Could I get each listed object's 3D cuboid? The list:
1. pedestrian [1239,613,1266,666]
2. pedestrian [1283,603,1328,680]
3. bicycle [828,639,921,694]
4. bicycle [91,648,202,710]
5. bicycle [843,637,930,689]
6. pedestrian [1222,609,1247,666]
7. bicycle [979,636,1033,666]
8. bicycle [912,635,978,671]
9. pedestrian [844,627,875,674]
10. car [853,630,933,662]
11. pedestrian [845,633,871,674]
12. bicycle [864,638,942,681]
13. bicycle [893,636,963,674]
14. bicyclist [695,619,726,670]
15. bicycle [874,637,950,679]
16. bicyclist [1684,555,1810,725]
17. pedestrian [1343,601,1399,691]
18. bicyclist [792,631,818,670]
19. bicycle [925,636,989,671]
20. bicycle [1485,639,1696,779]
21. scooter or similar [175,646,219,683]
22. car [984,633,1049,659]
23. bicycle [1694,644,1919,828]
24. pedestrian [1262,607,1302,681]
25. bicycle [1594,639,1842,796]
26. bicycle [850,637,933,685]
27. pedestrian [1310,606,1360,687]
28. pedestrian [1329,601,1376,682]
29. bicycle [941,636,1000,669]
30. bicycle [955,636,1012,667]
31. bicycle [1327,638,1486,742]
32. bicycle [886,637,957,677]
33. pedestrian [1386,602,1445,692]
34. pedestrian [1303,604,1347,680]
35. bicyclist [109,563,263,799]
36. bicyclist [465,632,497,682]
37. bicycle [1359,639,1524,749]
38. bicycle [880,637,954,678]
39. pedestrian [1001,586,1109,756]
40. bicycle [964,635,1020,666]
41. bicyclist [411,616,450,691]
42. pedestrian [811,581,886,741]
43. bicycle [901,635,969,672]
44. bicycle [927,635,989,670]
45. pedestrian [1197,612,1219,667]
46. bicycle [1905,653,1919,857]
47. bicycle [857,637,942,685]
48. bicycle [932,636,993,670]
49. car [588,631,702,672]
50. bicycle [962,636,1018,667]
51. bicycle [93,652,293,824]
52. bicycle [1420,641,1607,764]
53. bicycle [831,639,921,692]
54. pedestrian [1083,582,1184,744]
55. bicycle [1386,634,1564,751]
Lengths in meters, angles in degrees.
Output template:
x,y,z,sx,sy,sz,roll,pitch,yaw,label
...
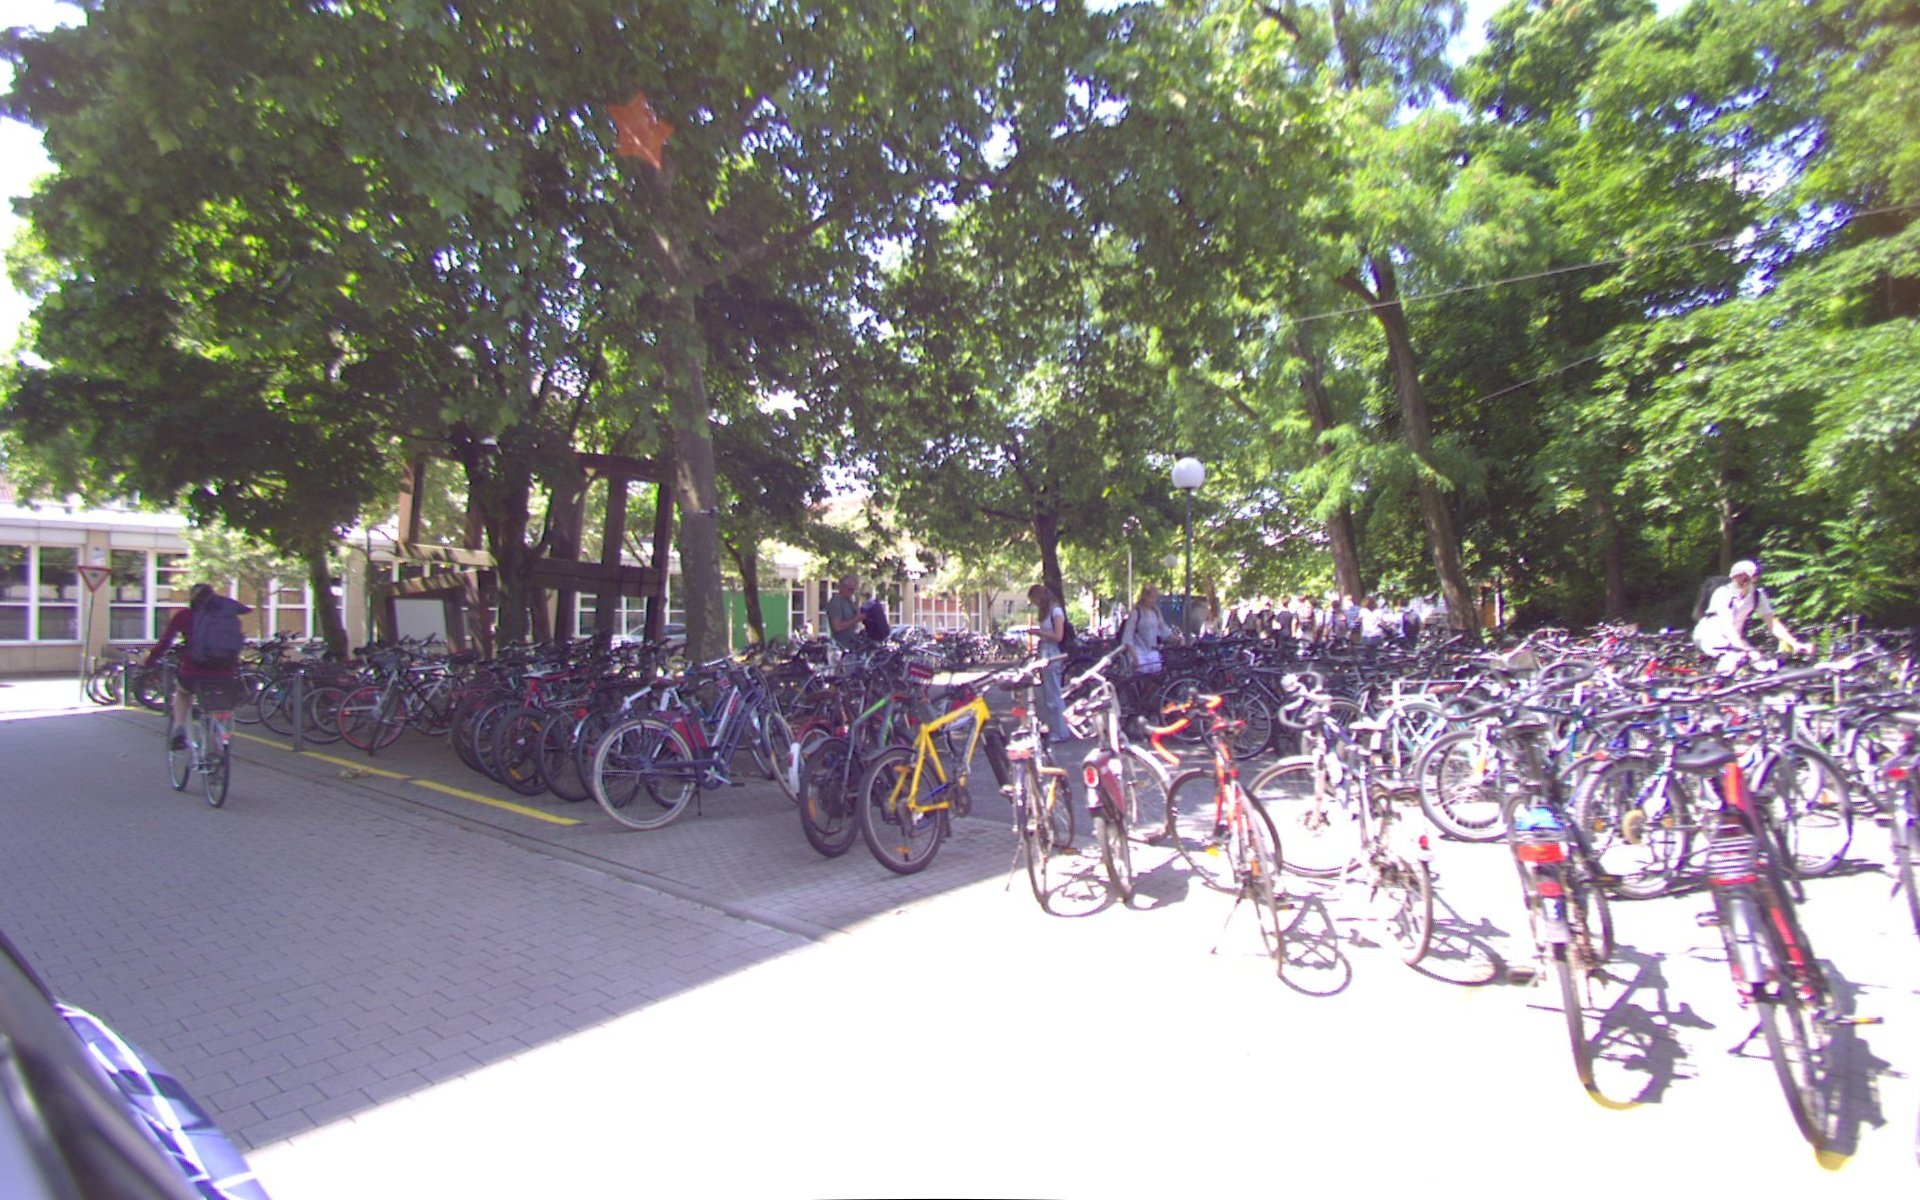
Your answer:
x,y,z,sx,sy,sz,roll,pitch,yaw,label
10.042,1.338,34.742,0.765,1.788,0.900,-1,-1,23,pedestrian
7.834,0.930,23.001,0.761,1.692,0.905,-1,-1,7,pedestrian
-1.805,1.397,21.369,1.884,1.116,0.501,-1,-1,8,bicycle
-15.624,1.493,19.471,0.496,1.116,1.608,-4,-4,40,bicycle
-1.640,1.399,22.576,1.886,1.116,0.501,-1,-1,11,bicycle
8.838,1.201,32.556,0.607,1.788,0.652,-2,-2,31,pedestrian
1.766,1.969,39.005,2.017,1.116,0.499,-1,-1,23,bicycle
-0.467,1.671,31.882,2.011,1.116,0.500,-1,-1,14,bicycle
-3.675,1.843,37.055,0.727,1.697,0.863,-2,-3,37,pedestrian
-3.651,2.511,55.838,1.836,1.646,4.479,-2,-3,39,car
-3.926,2.033,38.904,0.570,1.531,0.830,-2,-2,36,pedestrian
-1.503,1.565,26.781,1.984,1.116,0.501,-1,-1,11,bicycle
-0.962,1.632,30.230,2.011,1.116,0.500,-1,-1,14,bicycle
-9.581,1.696,38.903,0.675,1.902,0.956,0,1,41,bicyclist
-1.313,1.582,27.712,2.007,1.116,0.501,-1,-1,9,bicycle
7.626,0.378,9.835,0.586,1.580,0.723,0,-1,-11,bicyclist
7.949,0.886,19.600,0.761,1.692,0.905,-1,-1,7,pedestrian
-6.395,2.080,41.776,0.639,1.585,0.864,0,-2,37,bicyclist
-0.105,1.740,32.969,2.011,1.116,0.500,-1,-1,14,bicycle
5.373,0.899,8.630,1.671,1.092,0.475,0,-1,-14,bicycle
-25.733,2.161,34.131,0.289,1.235,1.142,-3,-3,44,scooter or similar
3.612,2.893,64.170,1.836,1.553,4.479,-2,-3,39,car
5.711,0.847,6.540,1.673,1.092,0.475,-1,-1,-7,bicycle
7.999,1.082,25.169,0.761,1.788,0.905,-1,-1,7,pedestrian
5.739,0.861,7.674,1.672,1.092,0.475,0,-1,-11,bicycle
-1.607,1.429,23.772,1.886,1.116,0.501,-1,-1,11,bicycle
7.955,0.976,21.500,0.761,1.692,0.905,-1,-1,7,pedestrian
8.854,0.937,22.861,0.761,1.788,0.905,-1,-1,7,pedestrian
0.371,1.831,35.356,2.011,1.116,0.500,-1,-1,14,bicycle
0.854,1.859,36.763,2.011,1.116,0.500,-1,-1,14,bicycle
5.017,0.988,11.383,1.671,1.092,0.475,0,-1,-14,bicycle
-1.111,1.632,29.195,2.007,1.116,0.501,-1,-1,9,bicycle
8.751,0.890,19.481,0.761,1.692,0.905,-1,-1,7,pedestrian
8.718,0.992,24.192,0.761,1.788,0.905,-1,-1,7,pedestrian
-6.132,0.608,8.019,0.910,1.729,0.764,-3,-2,38,bicyclist
-15.216,1.790,32.164,0.605,1.546,0.717,0,-1,43,bicyclist
5.192,0.990,10.918,1.671,1.092,0.475,0,-1,-14,bicycle
-1.213,1.618,28.431,2.007,1.116,0.501,-1,-1,9,bicycle
0.994,0.722,10.715,0.892,1.716,0.772,0,-1,-15,pedestrian
1.192,1.897,37.891,2.011,1.116,0.500,-1,-1,14,bicycle
-14.049,1.413,26.869,0.853,1.905,0.808,2,2,-28,bicyclist
-1.310,0.707,11.996,0.701,1.820,0.768,-1,-1,8,pedestrian
-0.758,1.620,30.732,2.011,1.116,0.500,-1,-1,14,bicycle
-0.069,1.753,33.807,2.011,1.116,0.500,-1,-1,14,bicycle
8.115,1.276,33.106,0.501,1.785,0.663,-2,-2,33,pedestrian
6.020,0.826,5.380,1.673,1.092,0.475,-1,-1,-7,bicycle
-1.448,1.465,24.289,1.984,1.116,0.501,-1,-1,11,bicycle
0.076,1.800,34.418,2.011,1.116,0.500,-1,-1,14,bicycle
-13.573,2.188,43.860,1.836,1.630,4.479,0,-1,39,car
1.095,1.904,37.374,2.011,1.116,0.500,-1,-1,14,bicycle
-6.103,1.012,8.003,2.105,1.159,0.764,-3,-2,39,bicycle
5.305,0.957,9.711,1.671,1.092,0.475,0,-1,-14,bicycle
-1.811,1.411,21.917,1.884,1.116,0.501,-1,-1,8,bicycle
1.941,0.685,11.294,0.903,1.716,0.762,-2,-1,28,pedestrian
5.180,0.902,10.187,1.671,1.092,0.475,0,-1,-14,bicycle
